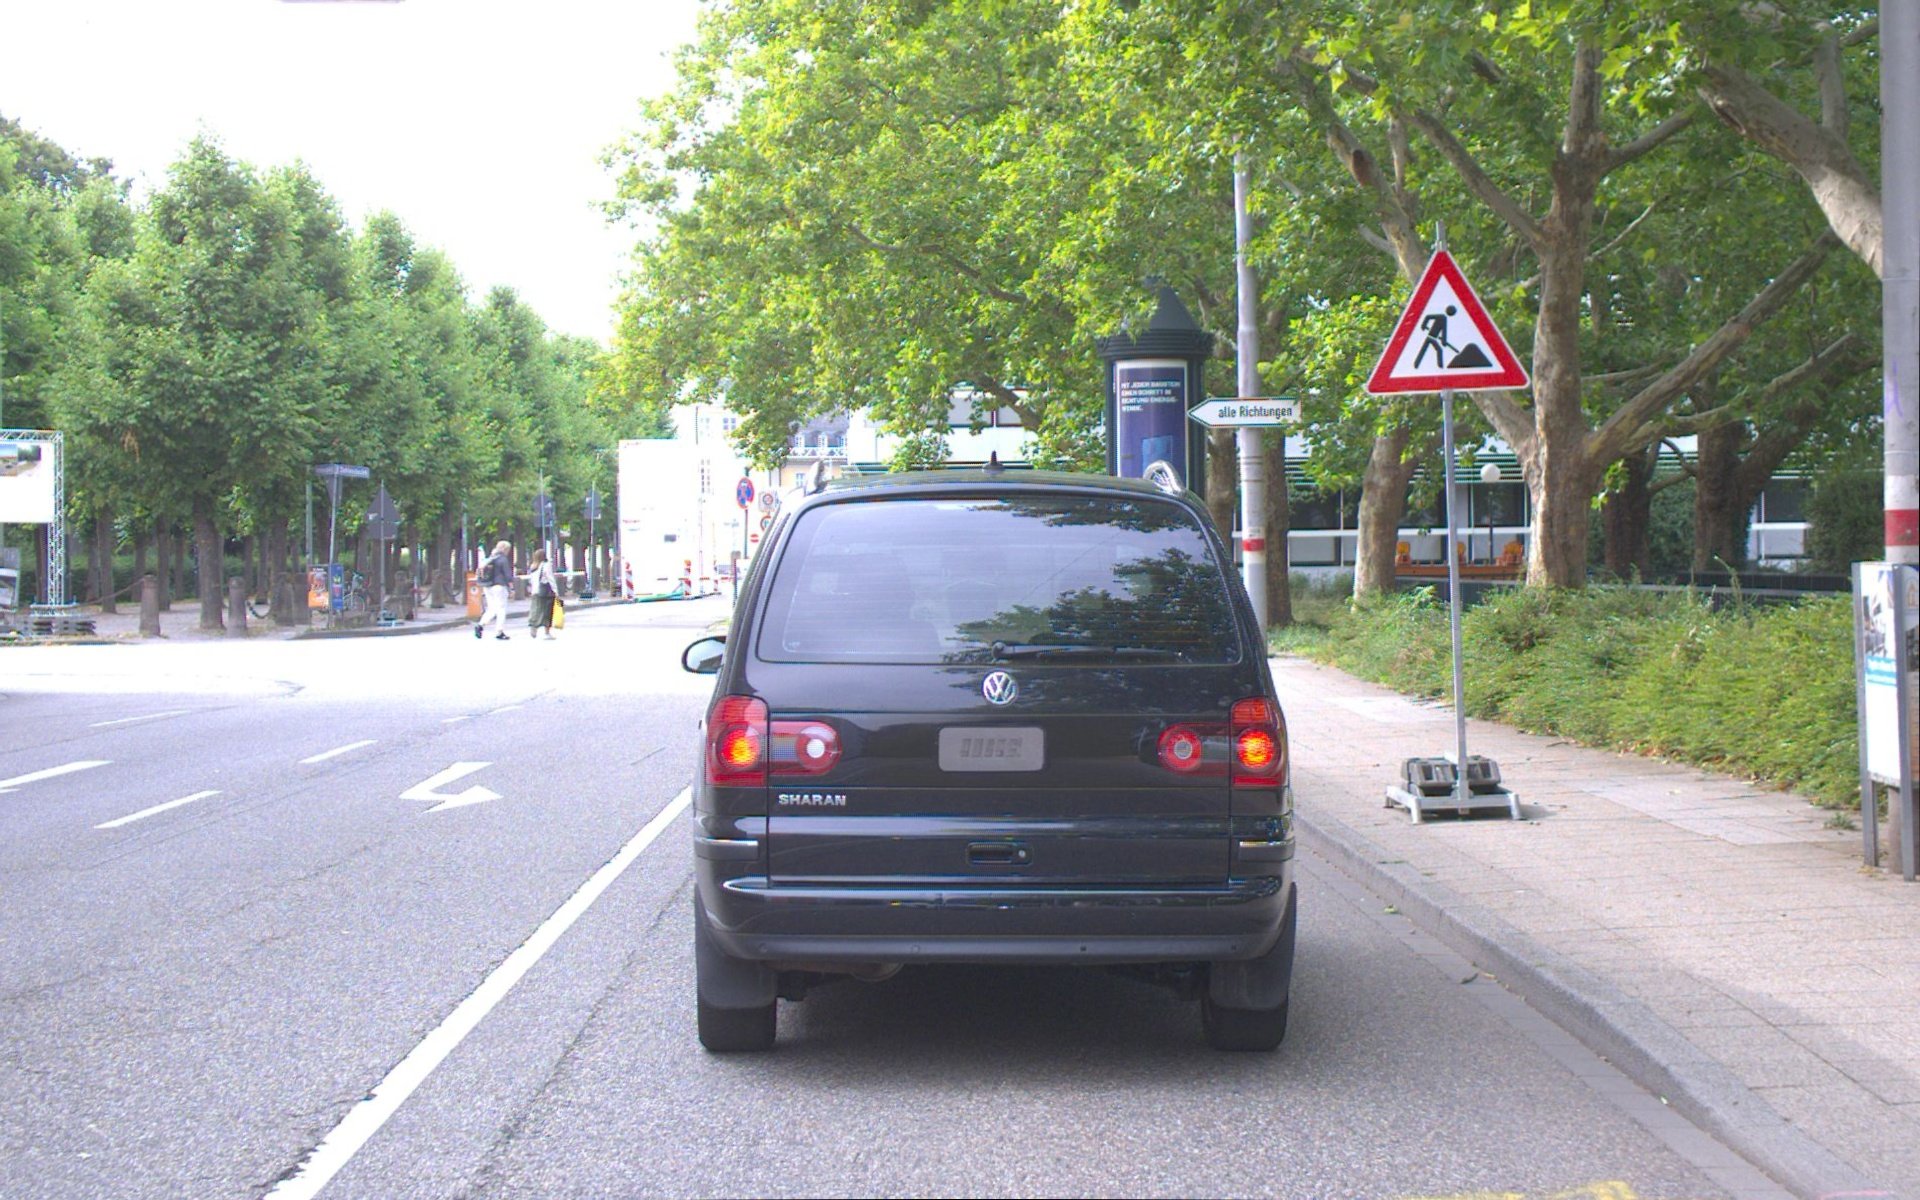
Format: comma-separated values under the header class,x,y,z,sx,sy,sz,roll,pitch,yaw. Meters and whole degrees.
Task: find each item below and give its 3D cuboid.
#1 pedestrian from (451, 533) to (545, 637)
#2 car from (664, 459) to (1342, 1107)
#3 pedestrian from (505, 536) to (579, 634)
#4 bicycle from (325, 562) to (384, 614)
class,x,y,z,sx,sy,sz,roll,pitch,yaw
pedestrian,-7.935,-0.263,59.063,0.962,1.735,1.253,2,1,38
car,0.044,0.450,11.263,1.793,1.702,4.131,-1,1,-2
pedestrian,-7.121,-0.255,58.568,0.898,1.635,0.851,2,1,35
bicycle,-13.715,-0.275,77.779,0.952,1.106,2.580,1,1,-18
